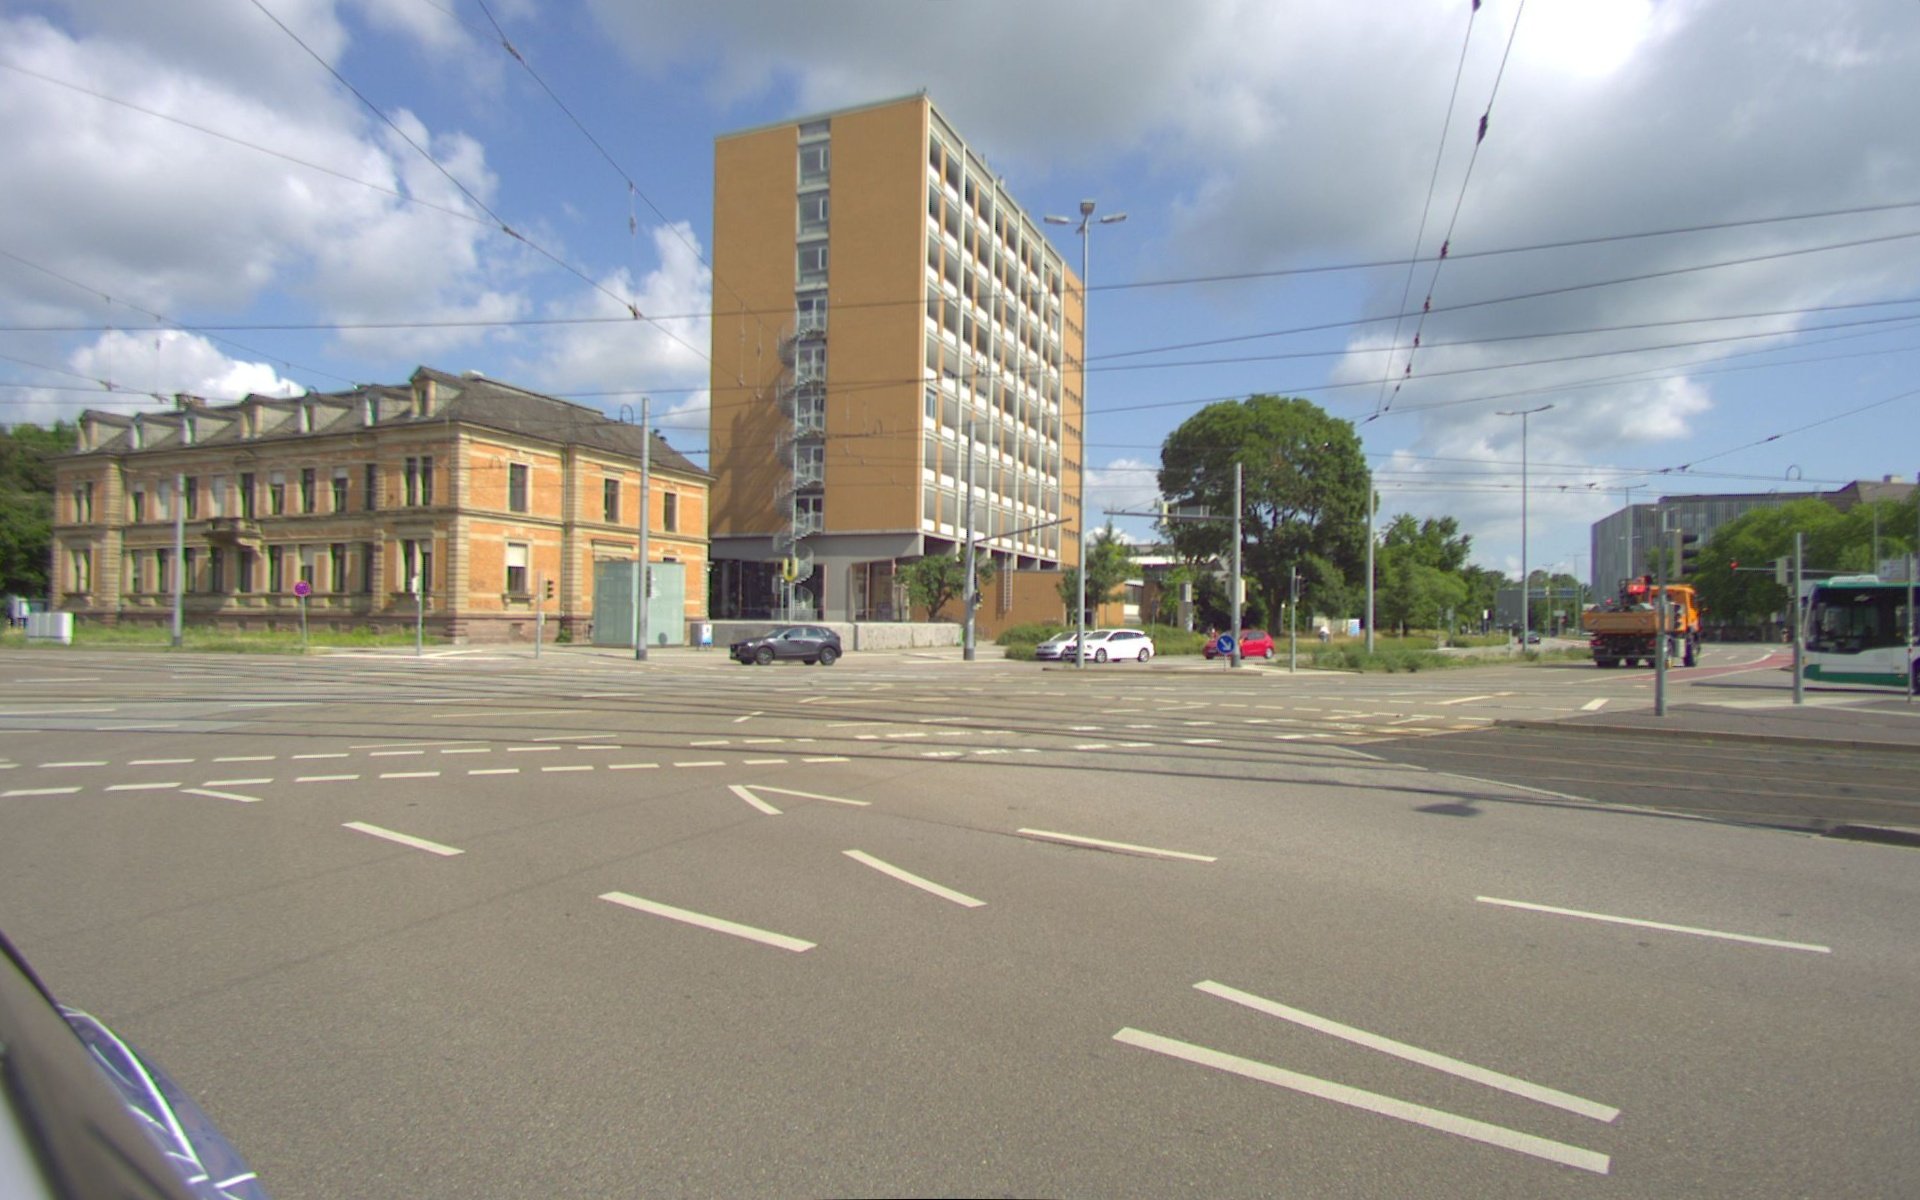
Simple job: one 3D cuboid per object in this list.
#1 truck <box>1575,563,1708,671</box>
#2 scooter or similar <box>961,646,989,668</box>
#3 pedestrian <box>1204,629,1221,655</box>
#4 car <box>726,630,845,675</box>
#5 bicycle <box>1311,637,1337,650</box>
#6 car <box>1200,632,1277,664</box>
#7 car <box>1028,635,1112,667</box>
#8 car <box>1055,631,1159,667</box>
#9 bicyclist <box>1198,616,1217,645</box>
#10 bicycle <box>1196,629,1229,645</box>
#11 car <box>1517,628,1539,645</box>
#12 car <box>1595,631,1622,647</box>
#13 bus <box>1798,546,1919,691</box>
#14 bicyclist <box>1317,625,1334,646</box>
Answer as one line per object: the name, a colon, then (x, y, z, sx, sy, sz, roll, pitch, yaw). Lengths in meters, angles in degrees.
truck: (27.985, 0.760, 41.400, 7.949, 4.039, 2.840, 2, -2, -43)
scooter or similar: (0.862, 3.273, 58.331, 1.515, 1.192, 0.435, 2, -2, -1)
pedestrian: (15.982, 2.648, 64.094, 0.946, 1.590, 0.768, 0, -2, 6)
car: (-6.549, 1.959, 38.140, 4.143, 1.588, 1.650, 1, -3, -36)
bicycle: (26.200, 3.101, 72.814, 2.238, 0.904, 0.654, 2, -2, -37)
car: (13.634, 2.346, 49.466, 4.001, 1.479, 1.649, 1, -3, -40)
car: (5.146, 2.370, 47.068, 4.016, 1.396, 1.590, 1, -3, -42)
car: (6.413, 2.112, 43.876, 4.599, 1.440, 1.767, 1, -3, -38)
bicyclist: (14.657, 1.802, 60.009, 0.921, 1.684, 0.581, 1, -1, -25)
bicycle: (15.019, 2.194, 60.151, 1.777, 0.881, 0.764, 2, 0, -25)
car: (61.961, 3.962, 110.359, 1.991, 1.769, 3.961, 0, -2, 28)
car: (65.560, 3.927, 102.302, 1.822, 1.537, 3.965, 0, -2, 26)
bus: (27.993, 0.487, 24.049, 12.365, 3.648, 2.877, 0, -2, 40)
bicyclist: (26.339, 2.561, 72.954, 1.151, 1.468, 0.637, 2, -2, -37)
